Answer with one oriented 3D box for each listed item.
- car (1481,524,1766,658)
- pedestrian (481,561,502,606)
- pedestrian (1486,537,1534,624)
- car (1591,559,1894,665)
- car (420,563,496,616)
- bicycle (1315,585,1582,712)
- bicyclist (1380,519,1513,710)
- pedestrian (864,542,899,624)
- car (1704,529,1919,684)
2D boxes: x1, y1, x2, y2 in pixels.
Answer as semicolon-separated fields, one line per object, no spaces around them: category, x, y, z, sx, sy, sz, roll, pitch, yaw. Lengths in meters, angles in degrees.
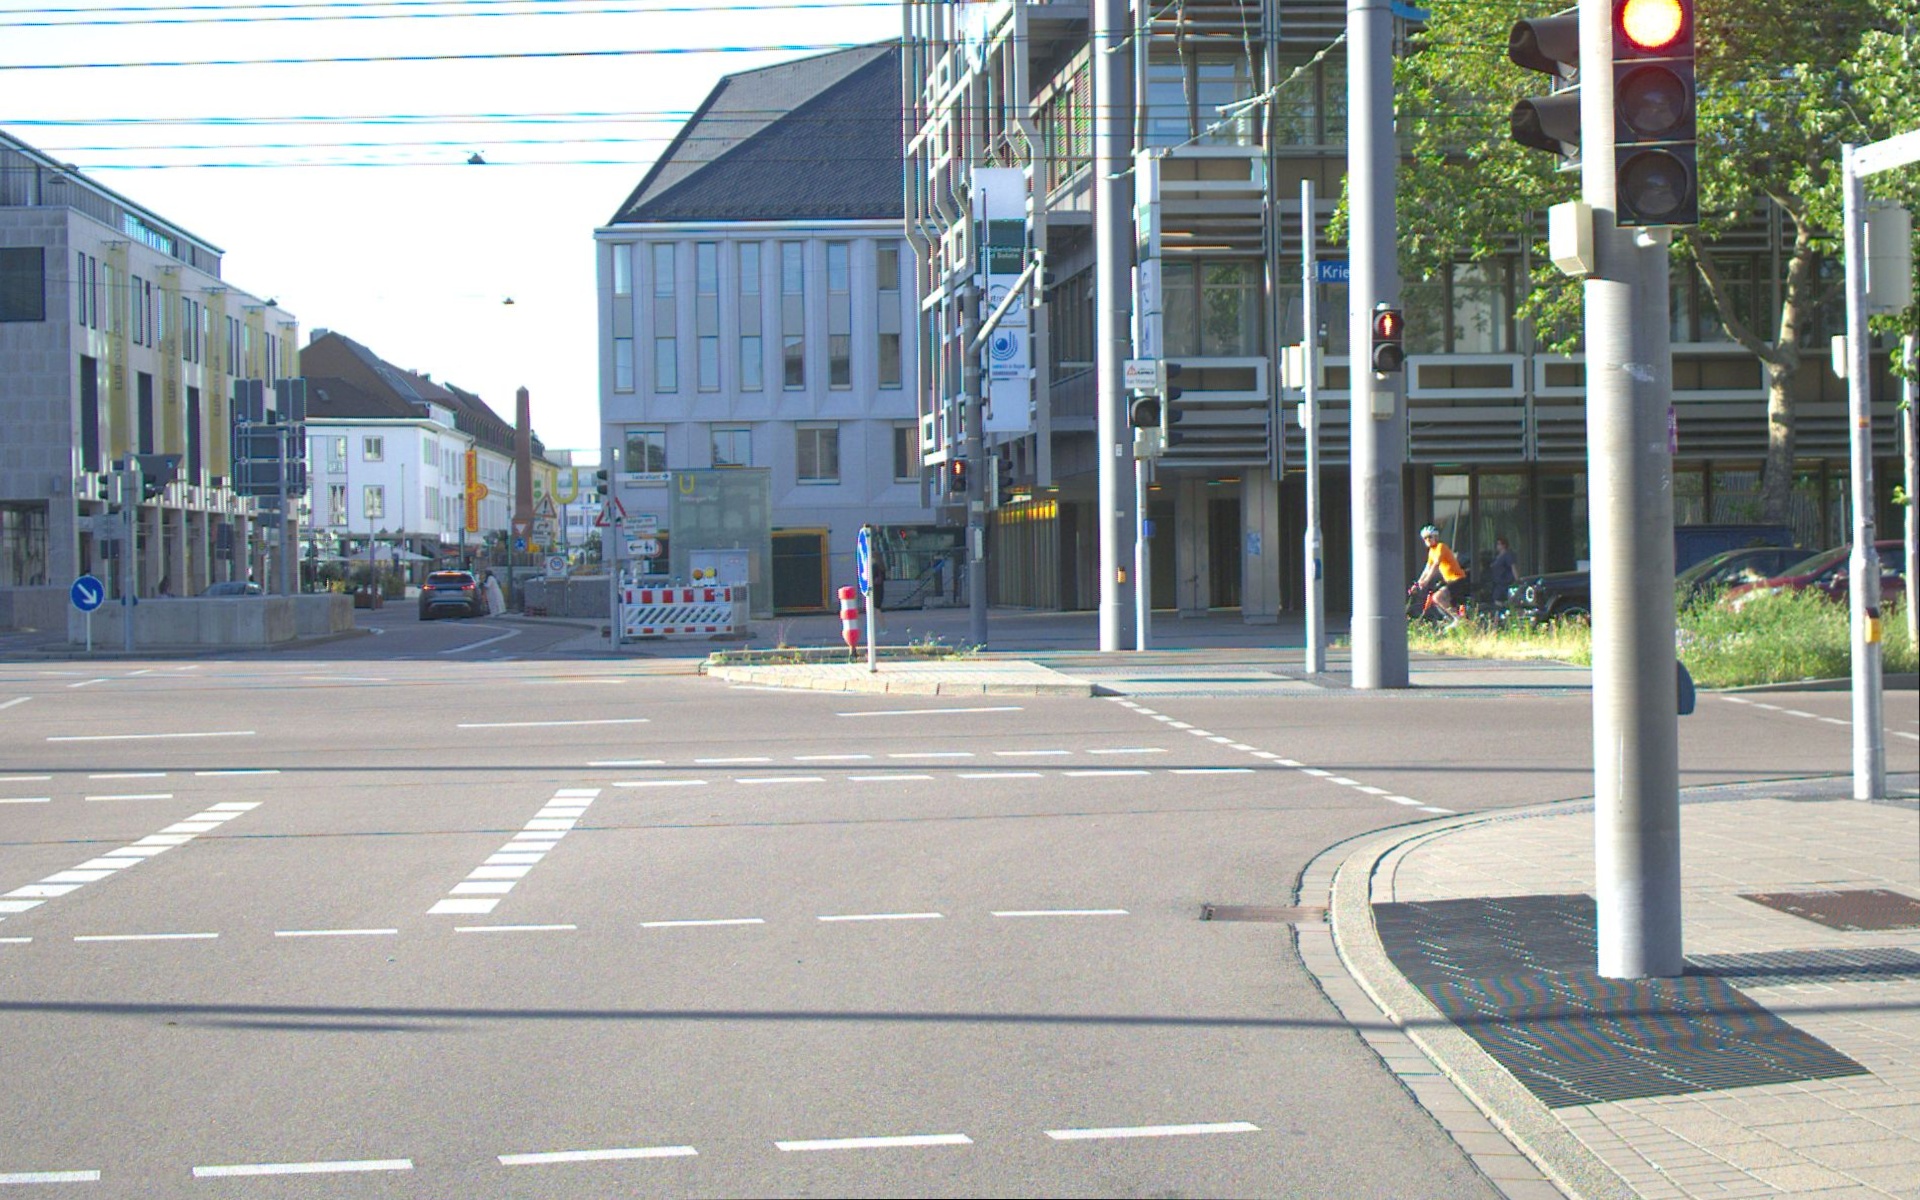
car;10.344;-0.142;53.770;3.986;2.007;2.000;1;0;-3
pedestrian;-14.759;-0.515;108.277;0.609;1.406;0.570;-1;1;-6
pedestrian;10.619;-0.377;66.392;0.729;1.652;0.651;-1;1;-7
car;11.493;0.159;50.653;3.986;1.503;1.868;0;1;-3
car;-15.808;-0.353;108.415;2.199;1.601;4.327;-1;1;-6
bicycle;6.692;0.650;47.139;3.490;1.653;0.932;-1;1;-9
bicyclist;6.661;0.190;47.132;1.567;2.571;0.932;-1;1;-9
pedestrian;-1.596;-0.348;69.581;0.663;1.652;0.755;-1;1;-3
car;12.287;0.089;46.402;3.986;2.007;2.000;1;0;-3
